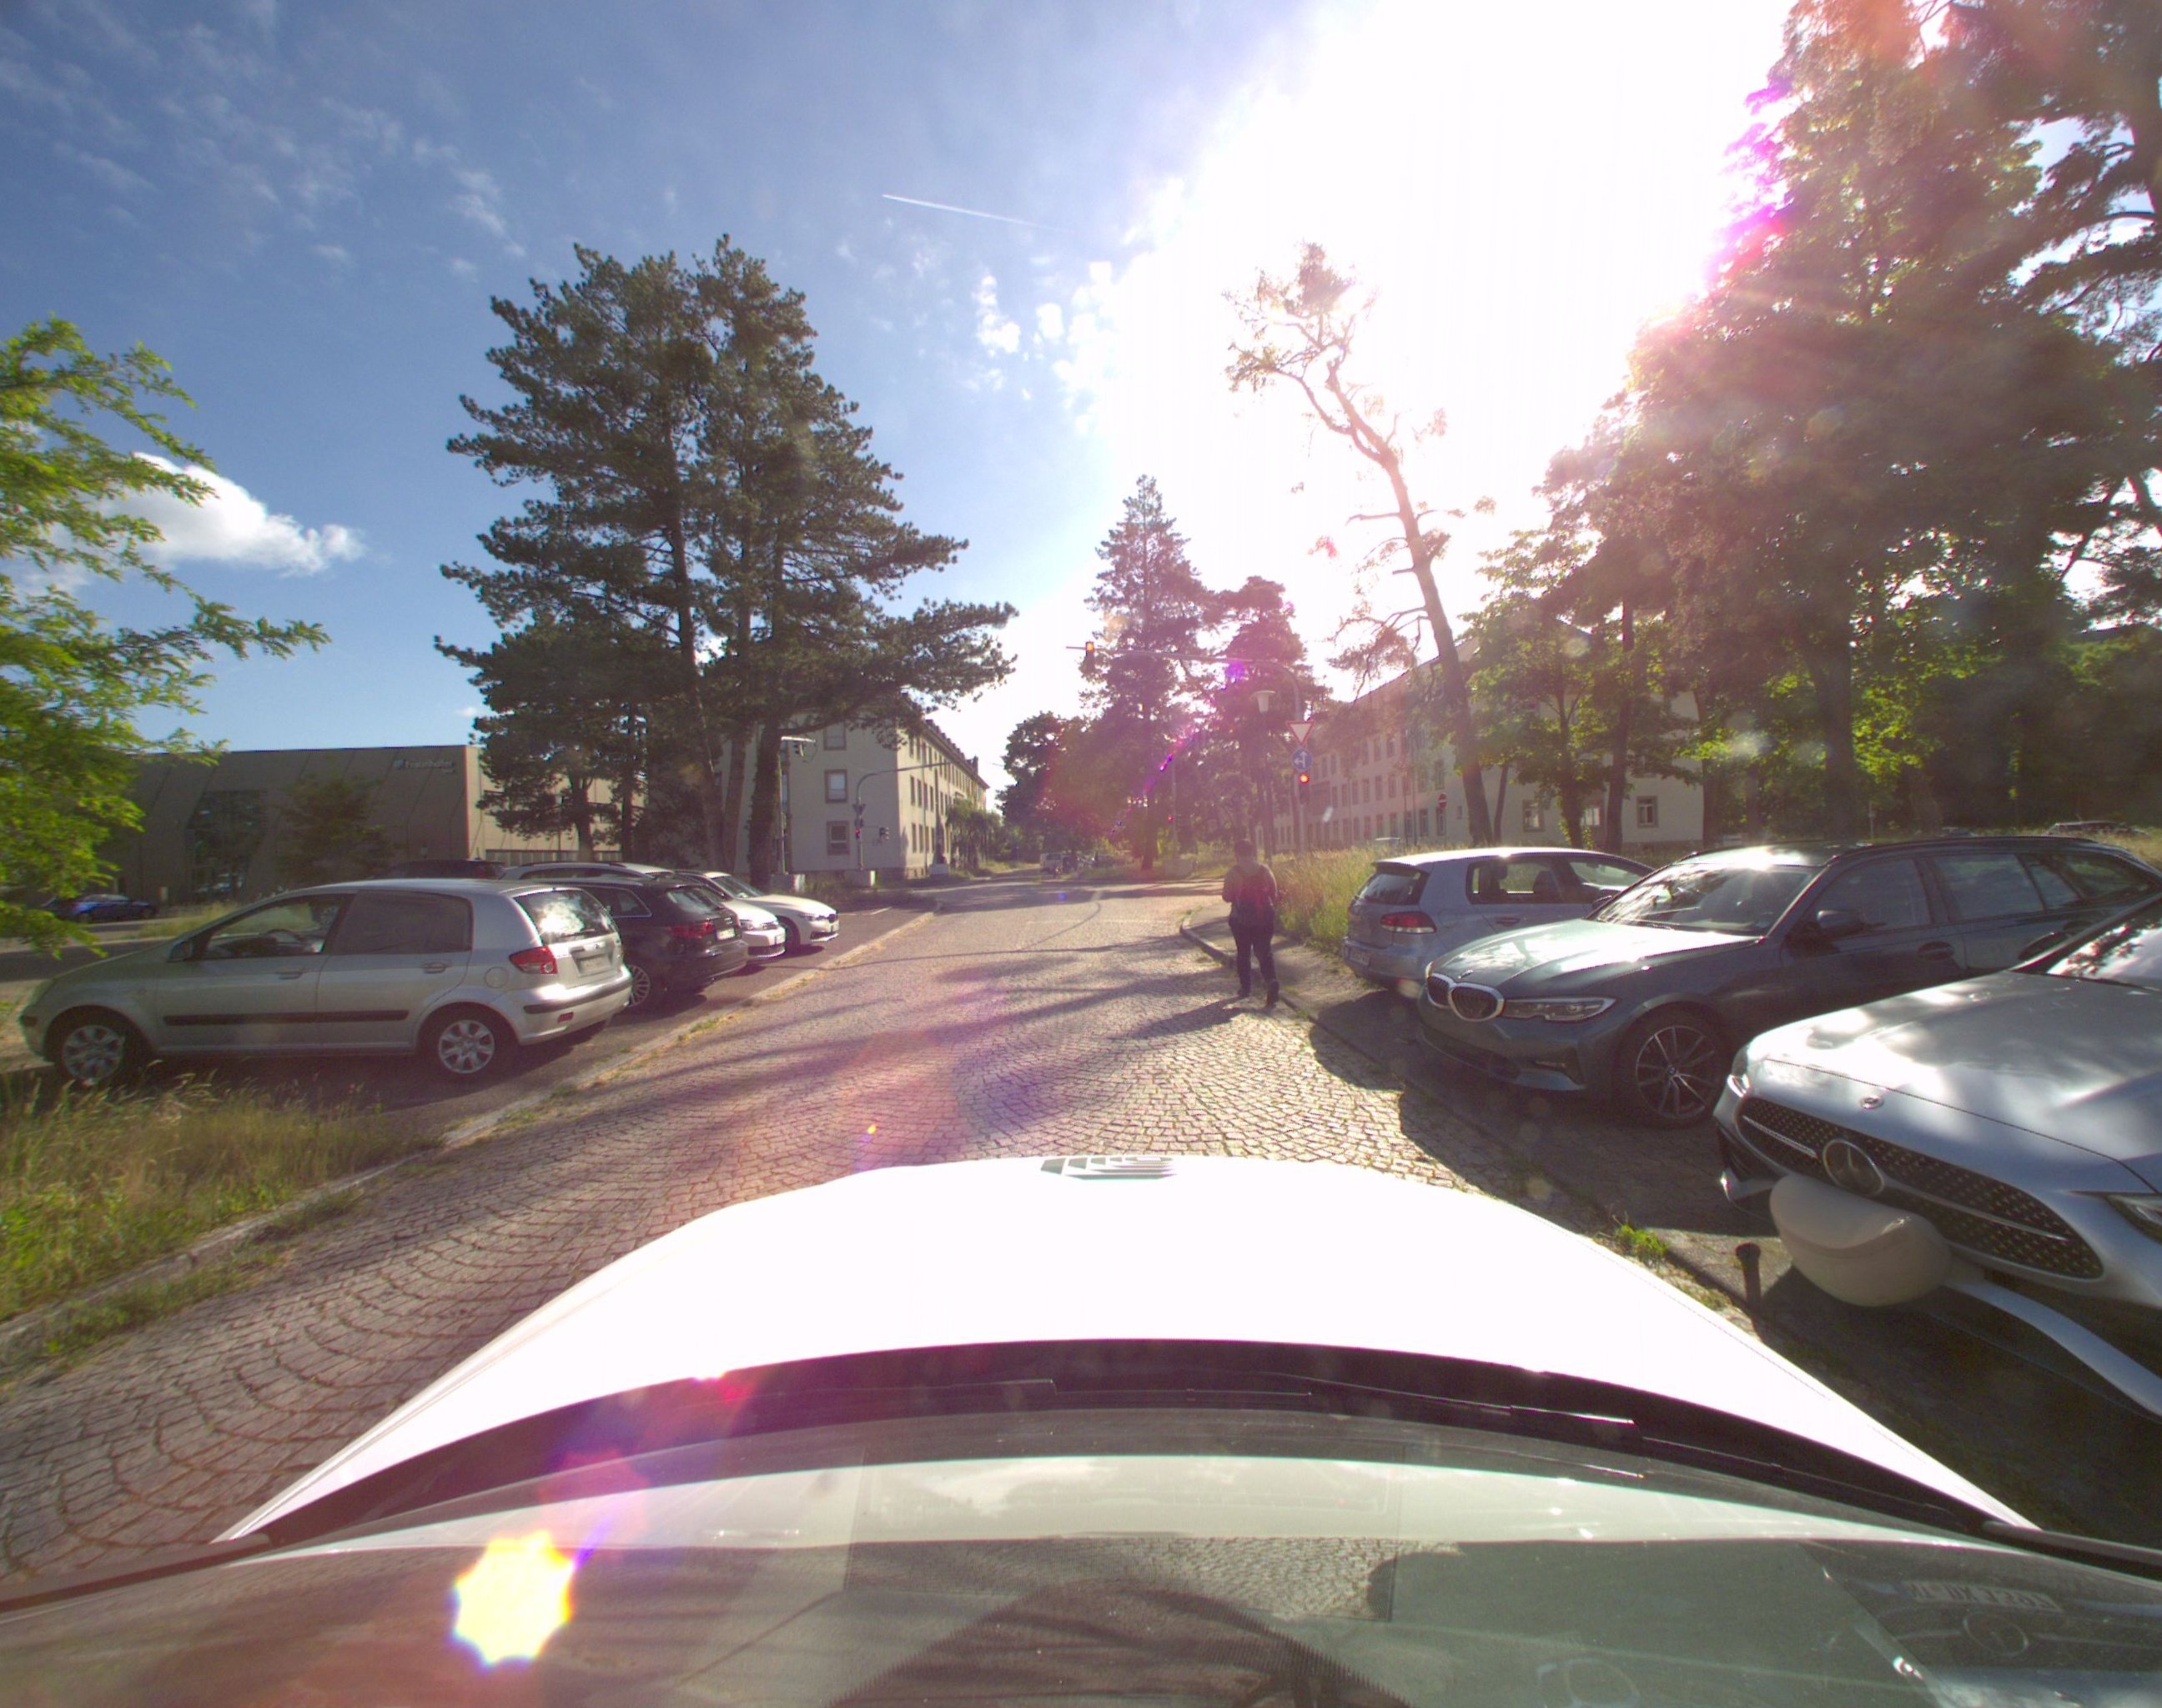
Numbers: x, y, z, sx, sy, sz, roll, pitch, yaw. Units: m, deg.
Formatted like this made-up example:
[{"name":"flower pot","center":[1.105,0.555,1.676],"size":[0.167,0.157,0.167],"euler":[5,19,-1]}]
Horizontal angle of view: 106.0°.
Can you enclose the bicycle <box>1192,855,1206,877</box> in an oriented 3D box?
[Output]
[{"name":"bicycle","center":[6.511,0.643,45.075],"size":[0.717,1.115,2.589],"euler":[-2,0,8]}]

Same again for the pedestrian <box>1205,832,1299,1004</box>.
[{"name":"pedestrian","center":[1.811,0.651,8.732],"size":[0.751,1.725,0.828],"euler":[3,0,-2]}]

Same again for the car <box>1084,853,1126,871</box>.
[{"name":"car","center":[2.269,0.793,78.572],"size":[3.743,1.580,1.736],"euler":[-2,0,-9]}]

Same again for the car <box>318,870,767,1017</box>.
[{"name":"car","center":[-5.919,0.964,9.352],"size":[3.928,1.445,1.689],"euler":[1,0,-3]}]

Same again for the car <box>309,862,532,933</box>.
[{"name":"car","center":[-17.324,1.110,21.537],"size":[4.132,1.608,2.009],"euler":[-2,0,-1]}]

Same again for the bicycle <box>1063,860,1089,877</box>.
[{"name":"bicycle","center":[-0.356,0.987,57.245],"size":[1.725,1.112,0.483],"euler":[-2,0,-6]}]

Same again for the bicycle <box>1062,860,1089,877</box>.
[{"name":"bicycle","center":[-0.409,0.988,56.698],"size":[1.831,1.112,0.494],"euler":[-2,0,-6]}]

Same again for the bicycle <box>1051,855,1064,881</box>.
[{"name":"bicycle","center":[-1.561,0.900,53.417],"size":[0.751,1.580,2.534],"euler":[-2,0,-2]}]

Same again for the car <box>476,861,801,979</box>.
[{"name":"car","center":[-6.388,0.916,12.104],"size":[3.871,1.615,1.659],"euler":[0,0,-3]}]

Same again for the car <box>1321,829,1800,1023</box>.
[{"name":"car","center":[4.454,0.619,7.945],"size":[3.664,1.443,1.664],"euler":[-4,0,-2]}]

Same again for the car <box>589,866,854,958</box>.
[{"name":"car","center":[-6.373,0.998,14.721],"size":[3.971,1.496,1.774],"euler":[0,0,2]}]

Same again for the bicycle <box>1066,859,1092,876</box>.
[{"name":"bicycle","center":[-0.141,0.945,57.935],"size":[1.725,1.164,0.560],"euler":[-2,0,-6]}]

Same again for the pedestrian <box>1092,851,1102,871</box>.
[{"name":"pedestrian","center":[1.446,0.636,72.847],"size":[0.759,1.783,0.682],"euler":[-2,0,-10]}]

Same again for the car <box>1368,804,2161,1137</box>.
[{"name":"car","center":[4.564,0.585,5.387],"size":[4.611,1.455,1.867],"euler":[-4,0,-5]}]

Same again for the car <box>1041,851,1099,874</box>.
[{"name":"car","center":[-1.020,0.761,74.604],"size":[5.069,1.918,1.992],"euler":[-2,0,-12]}]

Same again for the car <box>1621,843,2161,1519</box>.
[{"name":"car","center":[4.528,0.659,2.650],"size":[4.389,1.388,1.787],"euler":[-3,0,-3]}]

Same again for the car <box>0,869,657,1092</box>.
[{"name":"car","center":[-5.791,0.910,6.696],"size":[3.679,1.527,1.697],"euler":[0,0,-5]}]

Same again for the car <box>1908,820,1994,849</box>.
[{"name":"car","center":[55.867,-1.230,52.328],"size":[3.623,1.671,1.767],"euler":[-2,0,0]}]

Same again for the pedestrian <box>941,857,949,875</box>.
[{"name":"pedestrian","center":[-11.721,1.050,70.282],"size":[0.606,1.560,0.543],"euler":[-2,0,-9]}]

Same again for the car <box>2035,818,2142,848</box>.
[{"name":"car","center":[55.339,-1.146,44.778],"size":[3.623,1.497,1.767],"euler":[-2,0,0]}]

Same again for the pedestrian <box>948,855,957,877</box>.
[{"name":"pedestrian","center":[-10.540,0.972,66.802],"size":[0.608,1.752,0.627],"euler":[-2,0,-16]}]
